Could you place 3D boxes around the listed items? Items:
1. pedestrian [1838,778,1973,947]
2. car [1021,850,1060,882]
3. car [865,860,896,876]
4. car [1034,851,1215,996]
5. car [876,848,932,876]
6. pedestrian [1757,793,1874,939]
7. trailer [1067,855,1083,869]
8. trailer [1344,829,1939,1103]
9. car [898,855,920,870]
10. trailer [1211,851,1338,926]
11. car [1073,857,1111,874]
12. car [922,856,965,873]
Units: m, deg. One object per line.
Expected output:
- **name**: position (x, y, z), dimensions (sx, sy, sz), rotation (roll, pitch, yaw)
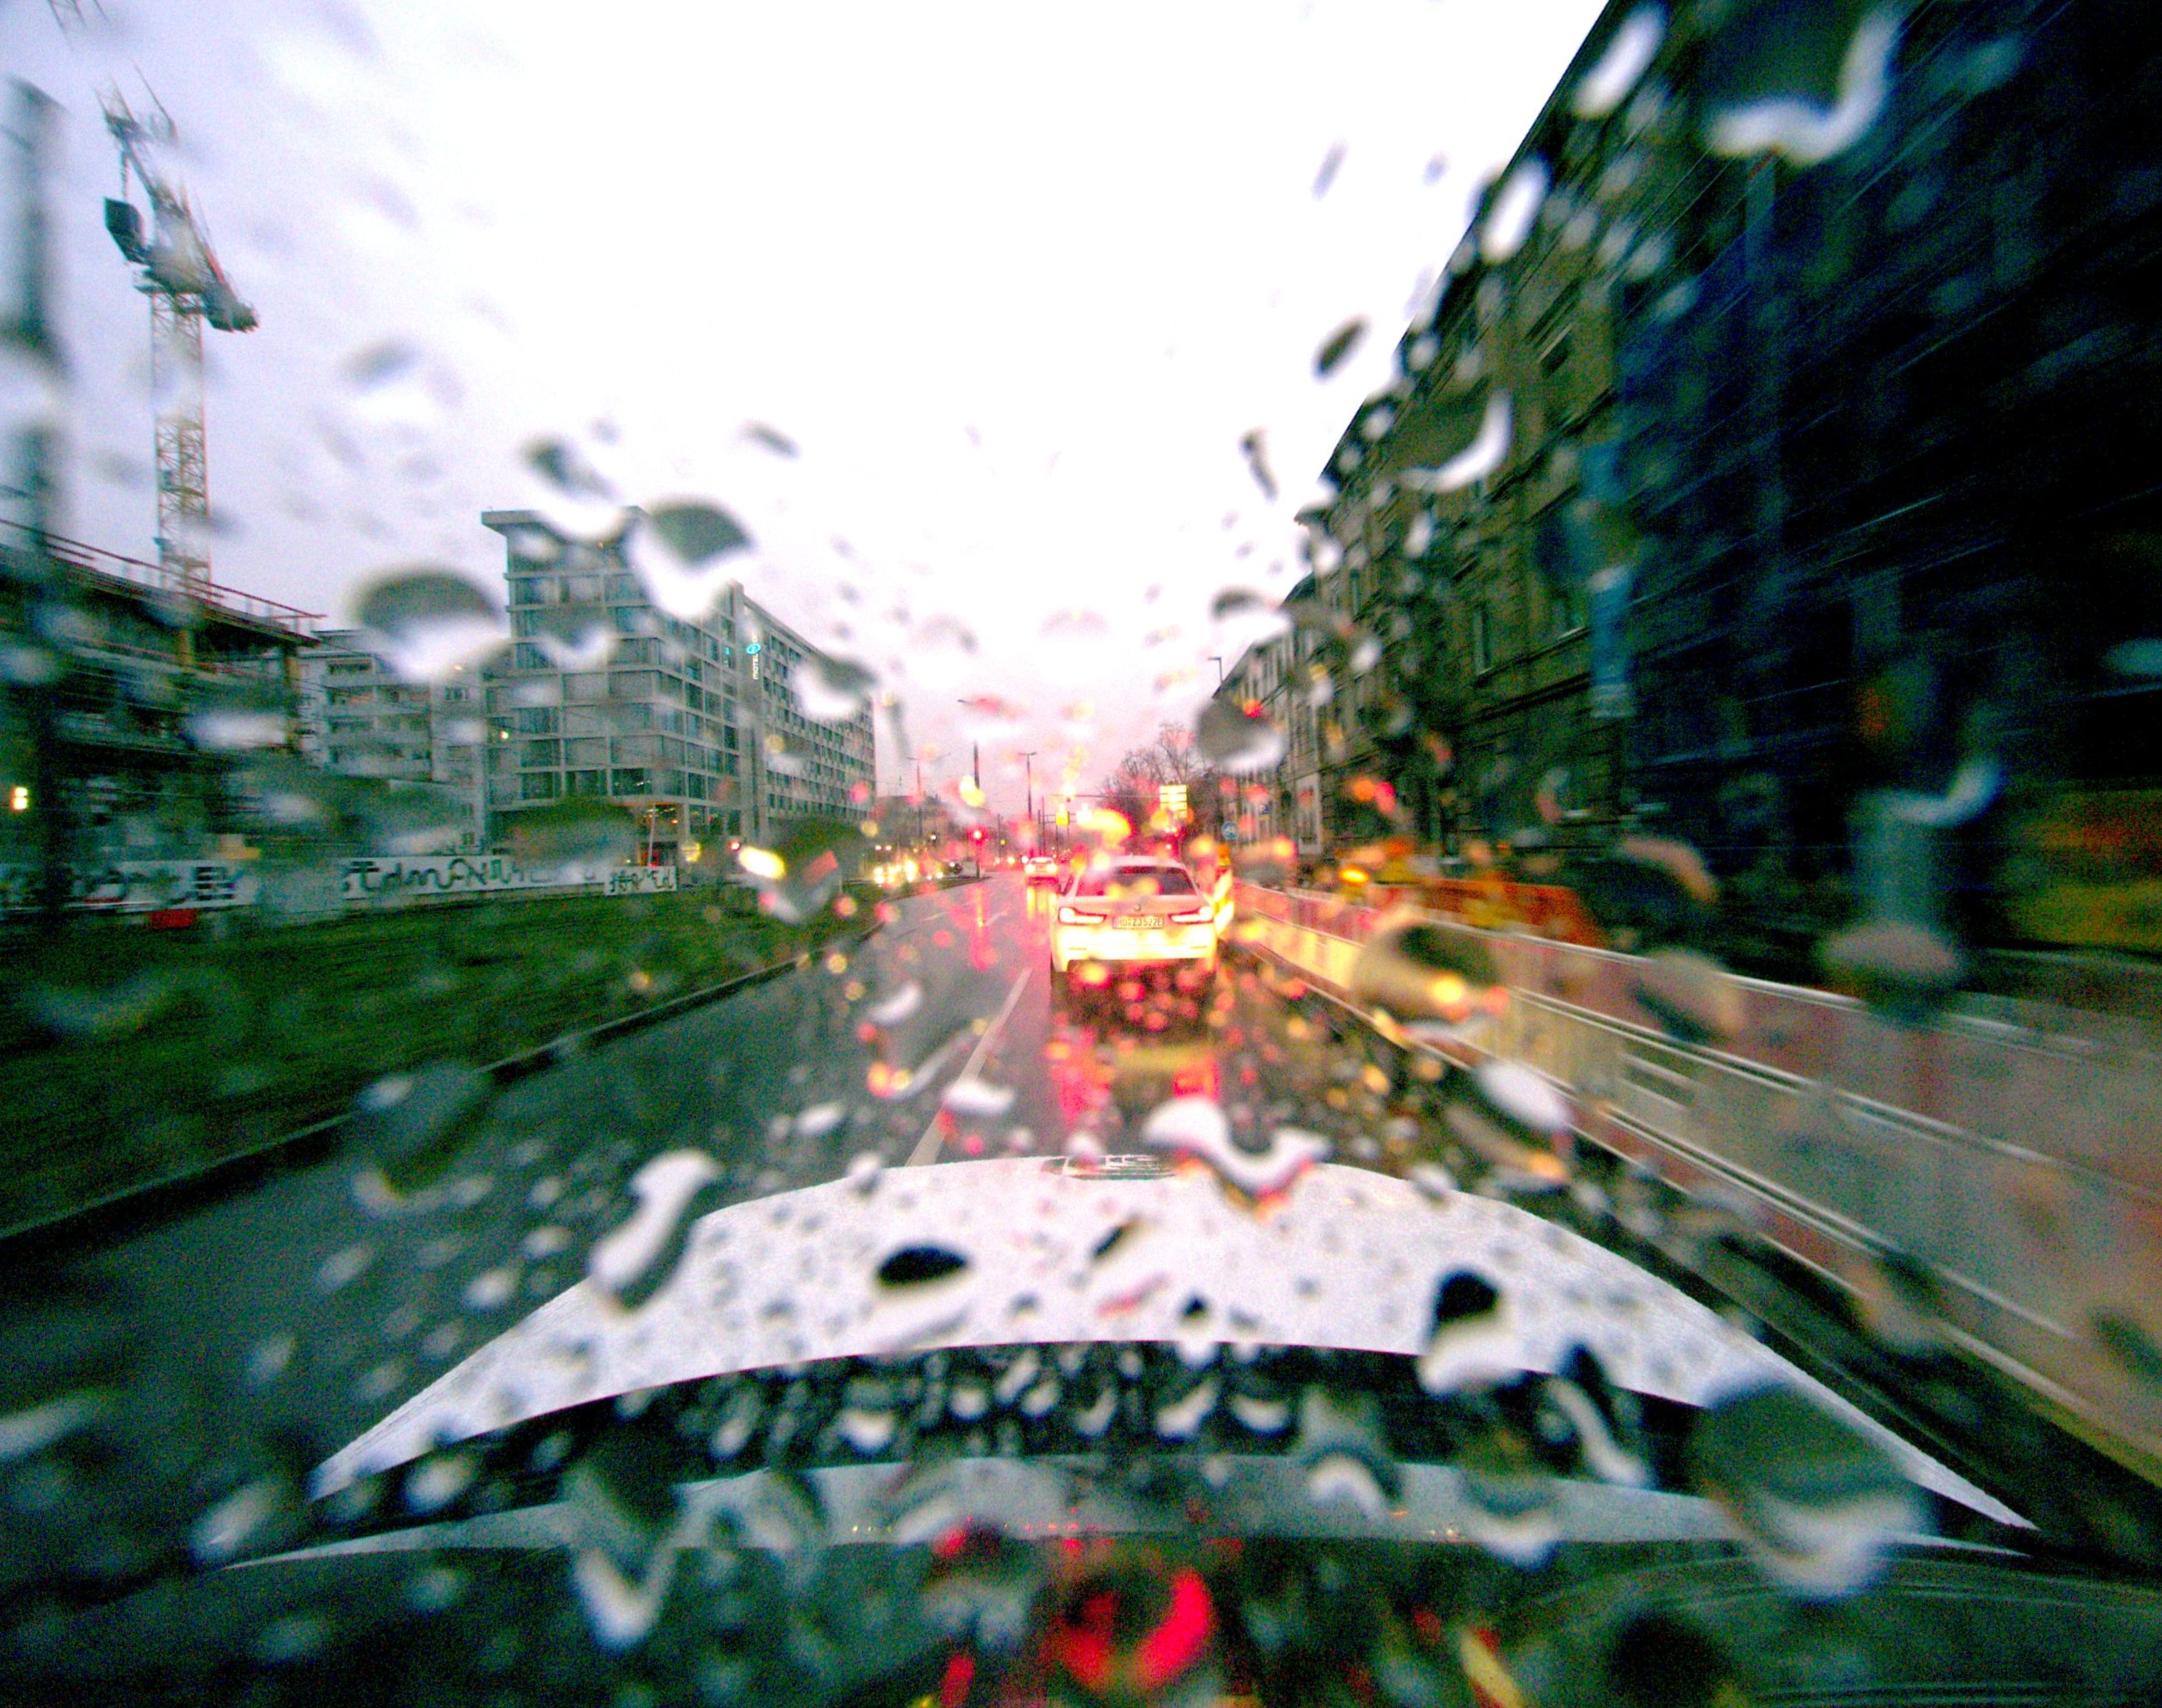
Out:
- **pedestrian**: position (8.868, 0.084, 8.786), dimensions (0.639, 1.710, 0.727), rotation (-3, 0, 0)
- **car**: position (-2.203, 0.633, 45.127), dimensions (1.894, 1.641, 4.001), rotation (-1, 0, 1)
- **car**: position (-20.262, 1.418, 82.219), dimensions (1.754, 1.492, 3.501), rotation (-1, 0, -40)
- **car**: position (0.463, 0.712, 10.887), dimensions (1.846, 1.465, 4.946), rotation (-1, 0, 0)
- **car**: position (-13.525, 0.597, 62.238), dimensions (3.998, 1.975, 1.988), rotation (-1, 0, -18)
- **pedestrian**: position (8.659, 0.138, 9.632), dimensions (0.708, 1.621, 0.651), rotation (-4, 0, 0)
- **trailer**: position (-0.702, 0.913, 97.892), dimensions (1.829, 1.643, 3.997), rotation (-1, 0, -2)
- **trailer**: position (3.954, 0.618, 7.028), dimensions (1.829, 1.490, 4.848), rotation (-2, 0, 1)
- **car**: position (-19.870, 0.983, 94.001), dimensions (1.854, 1.640, 4.027), rotation (-1, 0, -4)
- **trailer**: position (3.945, 0.641, 17.184), dimensions (1.844, 1.346, 3.529), rotation (-2, 0, 1)
- **car**: position (1.053, 1.100, 81.116), dimensions (1.914, 1.641, 3.960), rotation (-1, 0, -31)
- **car**: position (-12.950, 0.983, 76.597), dimensions (3.506, 1.492, 1.751), rotation (-1, 0, 13)
